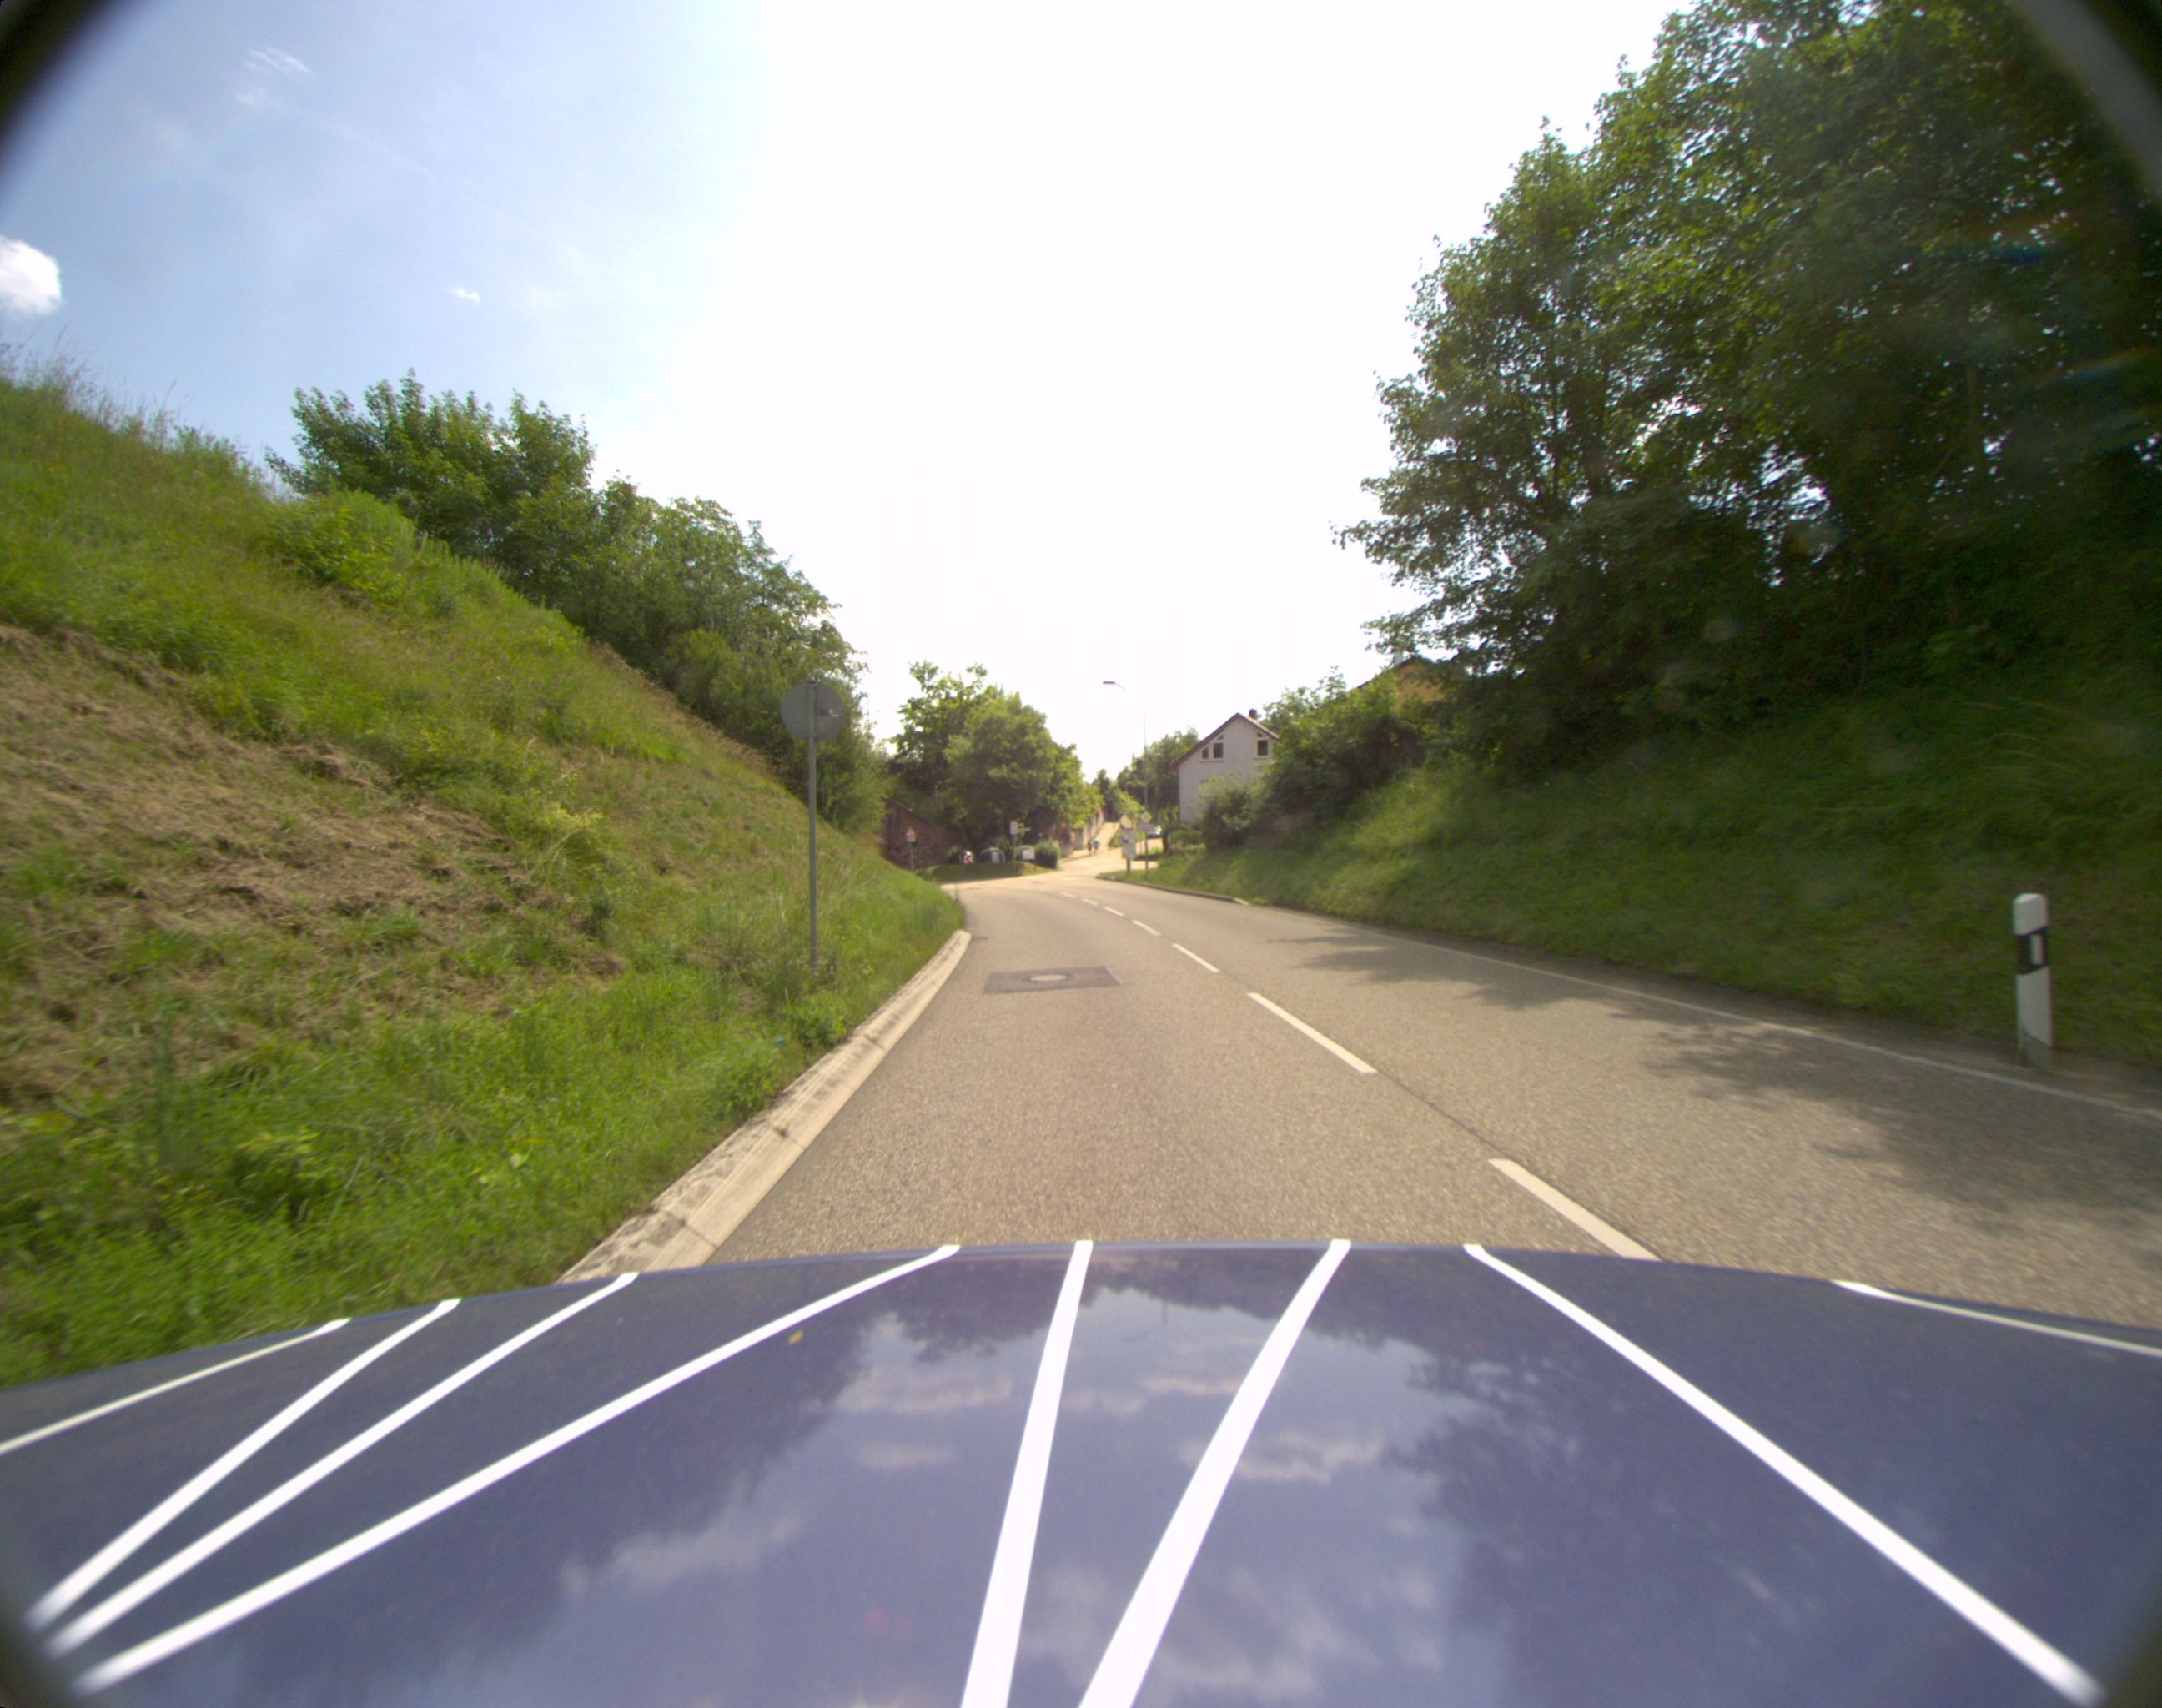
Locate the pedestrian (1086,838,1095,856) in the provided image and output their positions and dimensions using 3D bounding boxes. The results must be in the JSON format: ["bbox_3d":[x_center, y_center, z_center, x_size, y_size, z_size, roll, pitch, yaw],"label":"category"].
[{"bbox_3d":[0.864,-0.654,69.373,0.573,1.546,0.599,-5,3,8],"label":"pedestrian"}]

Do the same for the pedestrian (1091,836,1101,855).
[{"bbox_3d":[1.356,-0.779,69.610,0.686,1.703,0.790,-5,3,8],"label":"pedestrian"}]

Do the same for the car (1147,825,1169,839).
[{"bbox_3d":[9.837,-2.824,97.496,1.856,1.633,4.389,-5,1,-6],"label":"car"}]
